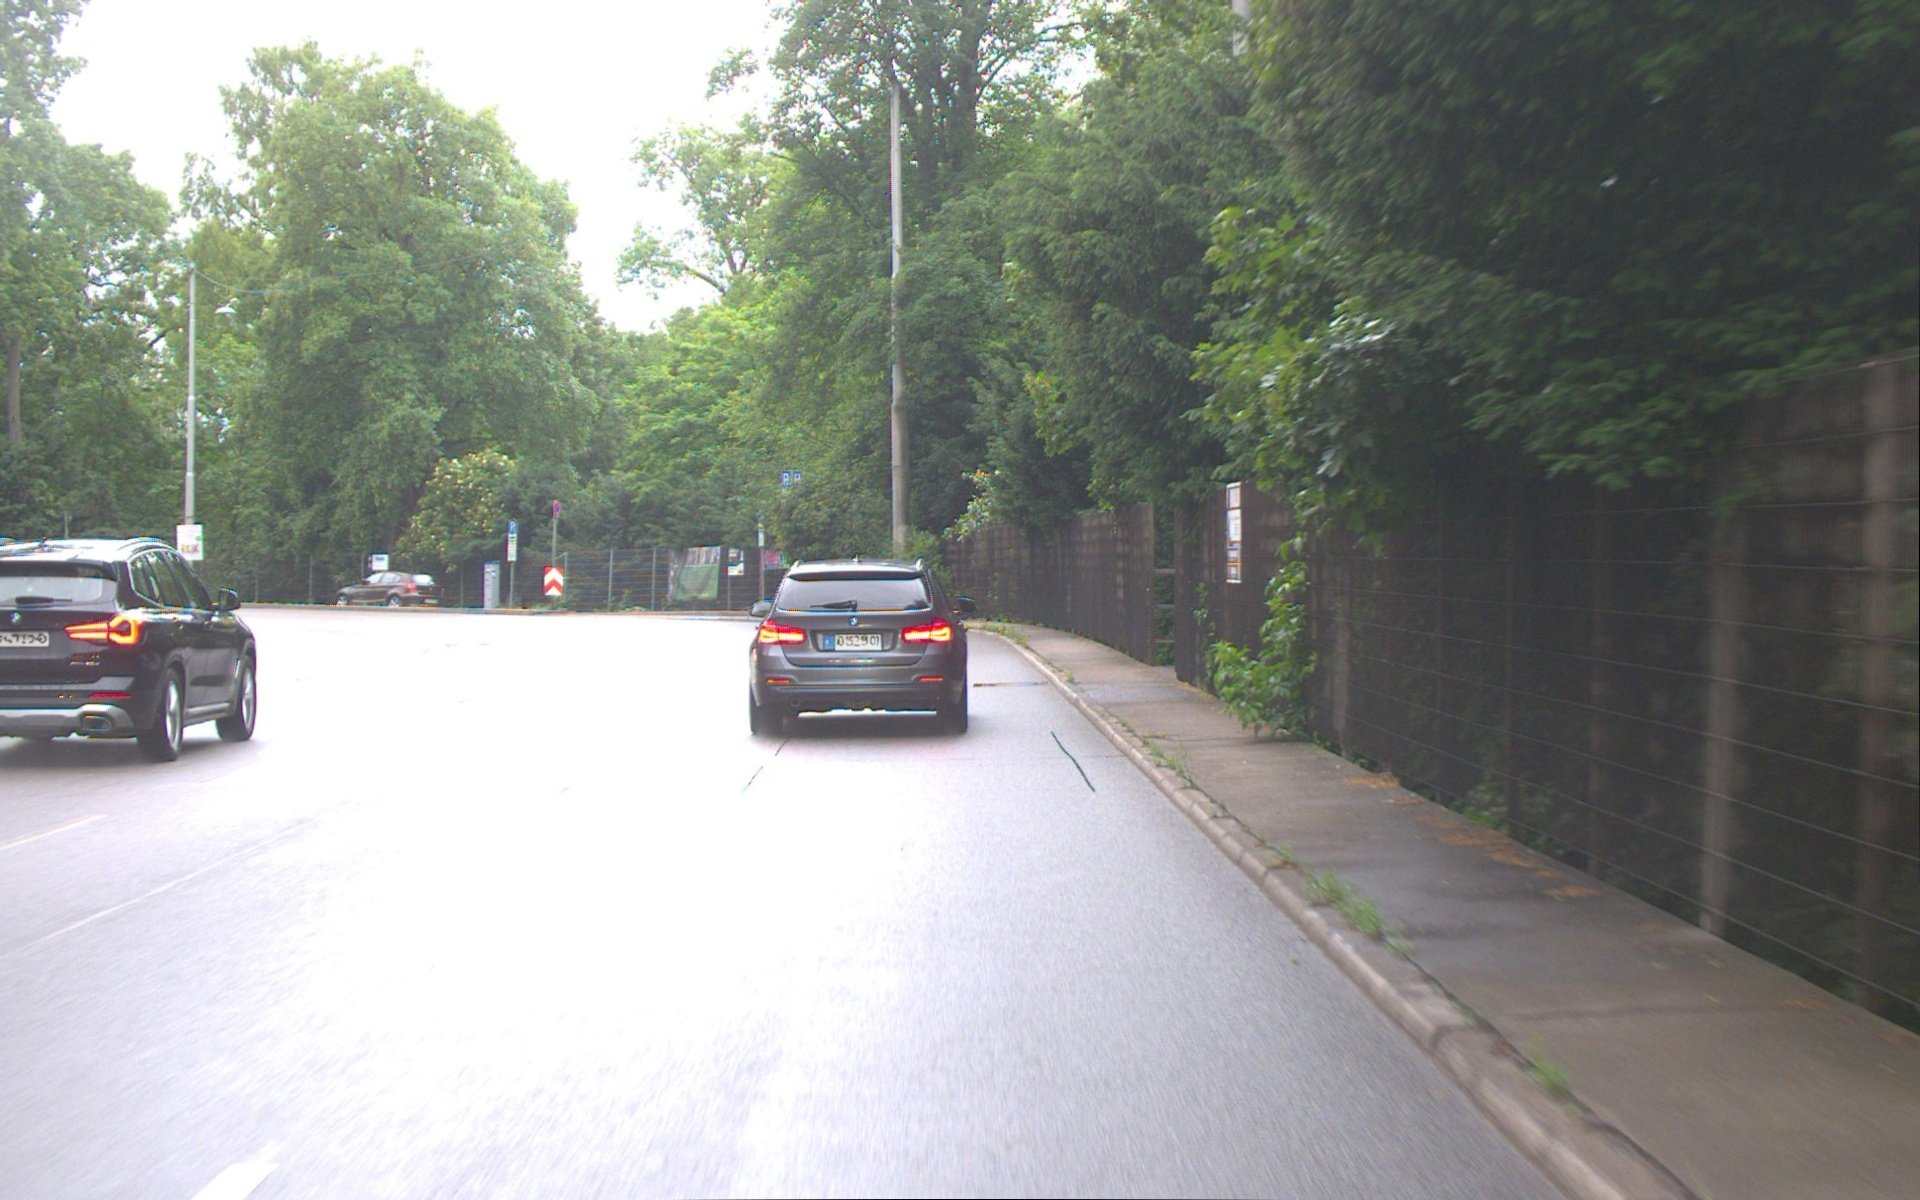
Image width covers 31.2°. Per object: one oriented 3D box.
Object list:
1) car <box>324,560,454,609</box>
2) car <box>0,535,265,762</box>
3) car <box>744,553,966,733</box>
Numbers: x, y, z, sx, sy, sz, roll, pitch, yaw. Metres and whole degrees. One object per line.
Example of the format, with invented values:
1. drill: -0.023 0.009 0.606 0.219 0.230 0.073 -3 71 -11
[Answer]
1. car: -18.274 -0.489 109.964 4.367 1.422 1.688 1 -2 42
2. car: -6.614 0.310 26.454 1.757 1.580 4.413 1 1 -2
3. car: -0.910 0.315 29.615 1.757 1.427 4.413 0 1 -2
